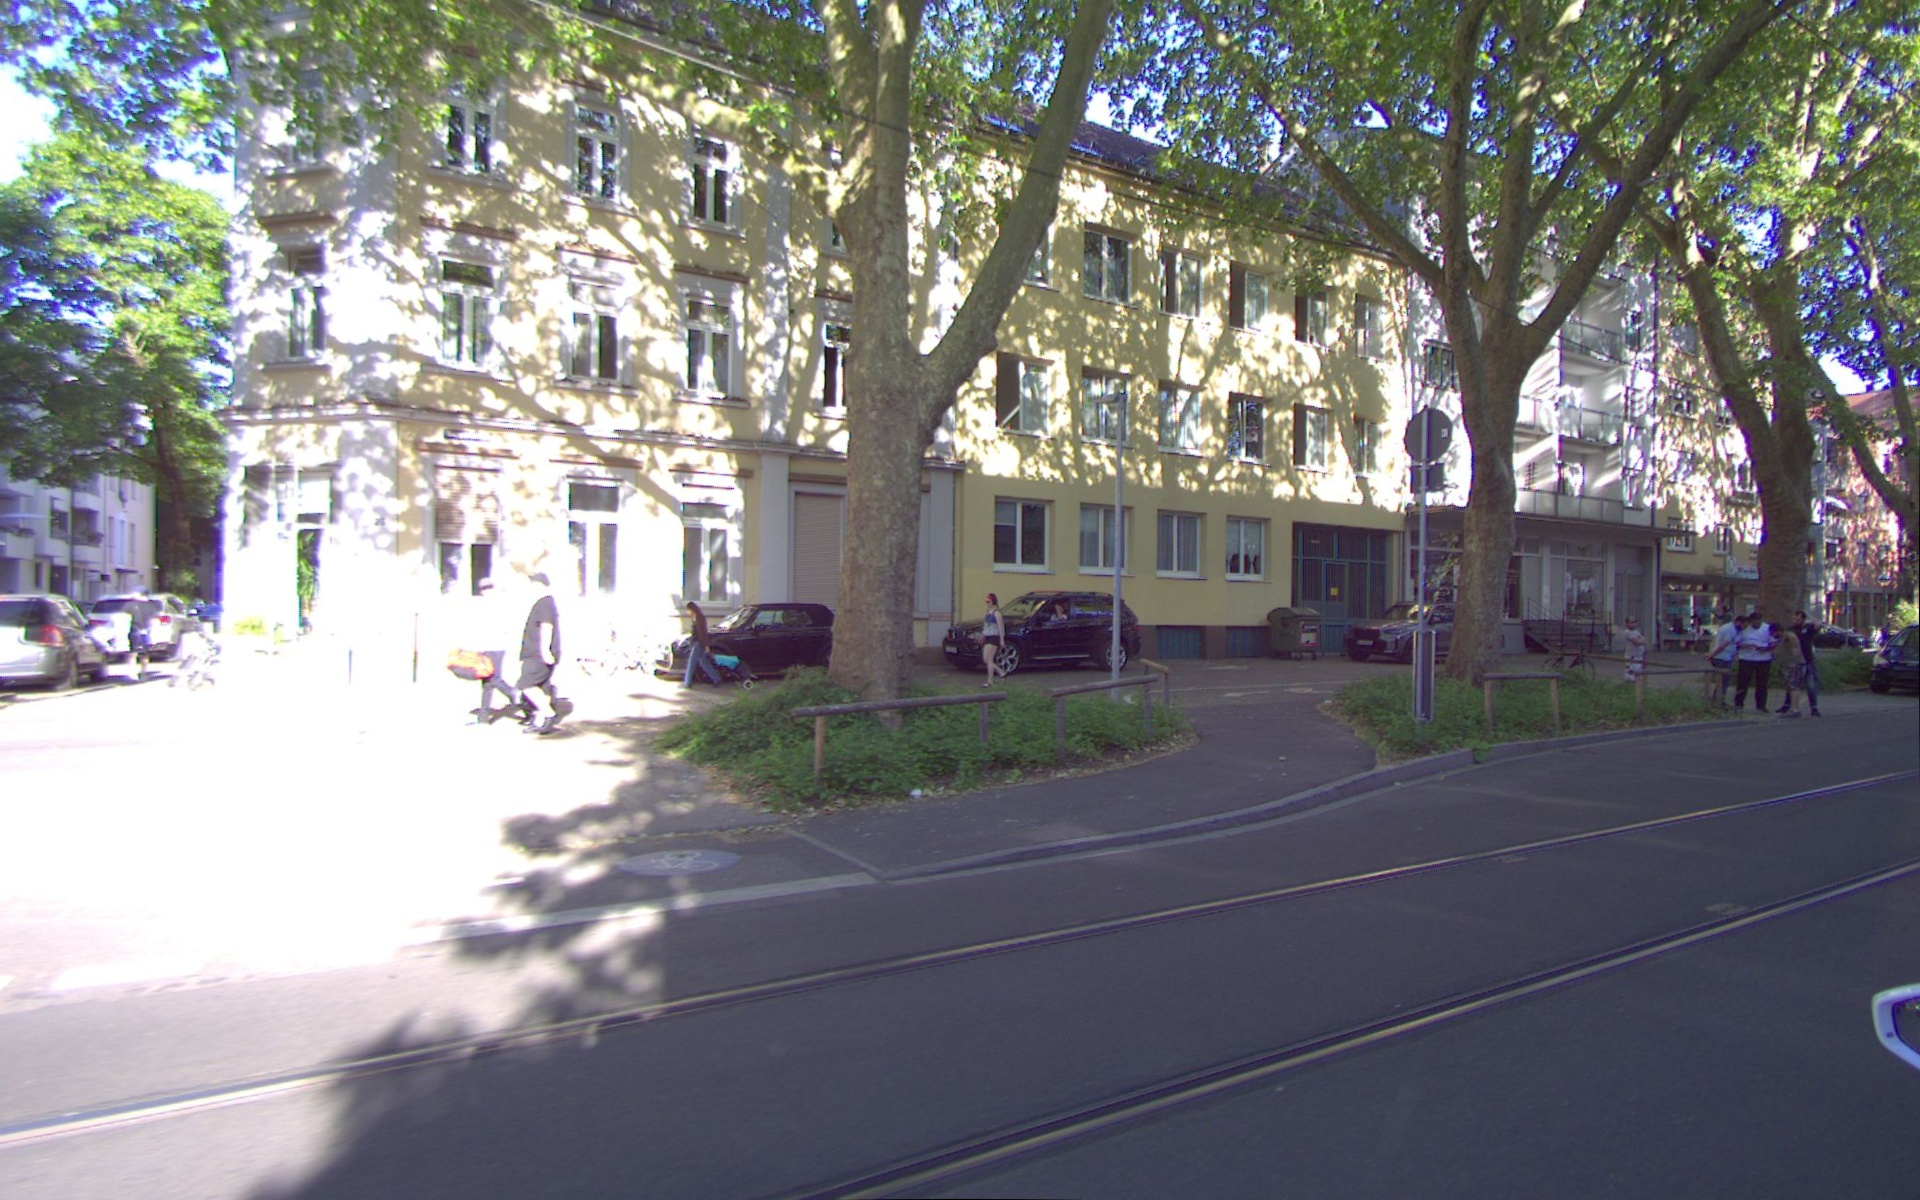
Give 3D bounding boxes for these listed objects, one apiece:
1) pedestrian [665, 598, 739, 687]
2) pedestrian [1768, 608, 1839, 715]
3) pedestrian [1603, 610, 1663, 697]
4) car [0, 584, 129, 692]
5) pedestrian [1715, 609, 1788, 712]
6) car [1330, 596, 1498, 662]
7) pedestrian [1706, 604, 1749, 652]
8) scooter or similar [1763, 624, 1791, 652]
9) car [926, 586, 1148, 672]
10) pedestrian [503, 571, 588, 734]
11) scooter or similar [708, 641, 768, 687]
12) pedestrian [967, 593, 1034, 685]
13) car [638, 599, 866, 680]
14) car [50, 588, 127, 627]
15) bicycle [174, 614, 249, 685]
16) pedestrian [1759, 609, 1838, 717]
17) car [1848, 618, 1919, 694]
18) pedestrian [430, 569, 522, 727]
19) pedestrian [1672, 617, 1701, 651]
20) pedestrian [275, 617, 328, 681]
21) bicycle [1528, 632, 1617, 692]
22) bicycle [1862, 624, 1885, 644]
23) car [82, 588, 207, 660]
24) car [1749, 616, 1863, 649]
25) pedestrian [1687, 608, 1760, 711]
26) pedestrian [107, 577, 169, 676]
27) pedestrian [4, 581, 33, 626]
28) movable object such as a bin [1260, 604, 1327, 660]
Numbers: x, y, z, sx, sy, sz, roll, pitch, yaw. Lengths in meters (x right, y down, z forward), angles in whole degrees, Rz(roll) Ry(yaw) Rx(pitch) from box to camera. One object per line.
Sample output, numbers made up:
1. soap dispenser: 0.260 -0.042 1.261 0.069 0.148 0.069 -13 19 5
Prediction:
1. pedestrian: -4.495 0.727 17.493 1.057 1.499 0.768 1 0 -32
2. pedestrian: 14.703 1.057 17.510 0.762 1.801 0.708 1 0 -31
3. pedestrian: 13.102 1.024 19.566 0.699 1.631 0.771 1 0 11
4. car: -16.033 0.586 17.422 1.779 1.660 3.982 -3 2 -30
5. pedestrian: 13.913 1.038 17.678 0.699 1.758 0.771 1 0 11
6. car: 13.159 0.834 29.042 4.840 1.756 1.984 2 0 -30
7. pedestrian: 31.371 1.132 41.060 1.047 1.889 1.100 1 0 -33
8. scooter or similar: 34.601 1.607 42.541 0.662 1.182 0.644 1 0 -4
9. car: 1.758 0.634 22.583 4.638 1.760 1.985 2 0 -29
10. pedestrian: -4.756 0.576 11.507 0.728 1.781 0.732 1 0 -35
11. scooter or similar: -3.854 1.103 17.444 0.887 0.764 0.525 1 0 -32
12. pedestrian: 0.751 0.712 18.697 0.999 1.659 0.707 1 0 -33
13. car: -3.979 0.729 19.408 3.957 1.406 1.769 2 0 -33
14. car: -38.687 0.292 44.676 1.816 1.628 4.121 1 0 -30
15. bicycle: -12.823 0.812 17.190 1.840 1.076 0.653 1 3 42
16. pedestrian: 14.124 1.040 16.942 0.755 1.758 0.714 1 0 14
17. car: 22.068 1.244 22.652 4.235 1.582 1.906 2 0 -31
18. pedestrian: -5.732 0.558 11.931 0.709 1.803 0.670 2 0 2
19. pedestrian: 28.647 1.328 39.604 0.632 1.289 0.674 1 0 -7
20. pedestrian: -11.120 0.818 16.964 0.533 1.054 0.545 1 0 27
21. bicycle: 12.305 1.221 20.241 0.558 1.094 1.851 1 0 -3
22. bicycle: 51.723 1.918 56.894 1.620 1.099 0.538 -1 1 -32
23. car: -21.061 0.563 26.114 1.872 1.693 4.121 1 0 -30
24. car: 46.153 1.747 54.872 1.982 1.475 4.397 1 2 -37
25. pedestrian: 13.424 1.025 17.670 0.708 1.758 0.765 1 0 -26
26. pedestrian: -14.758 0.471 18.047 0.791 1.730 0.776 1 0 -37
27. pedestrian: -38.307 0.133 40.867 0.716 1.803 0.663 2 0 -33
28. movable object such as a bin: 9.452 0.889 28.492 1.328 1.522 1.224 1 0 -31
